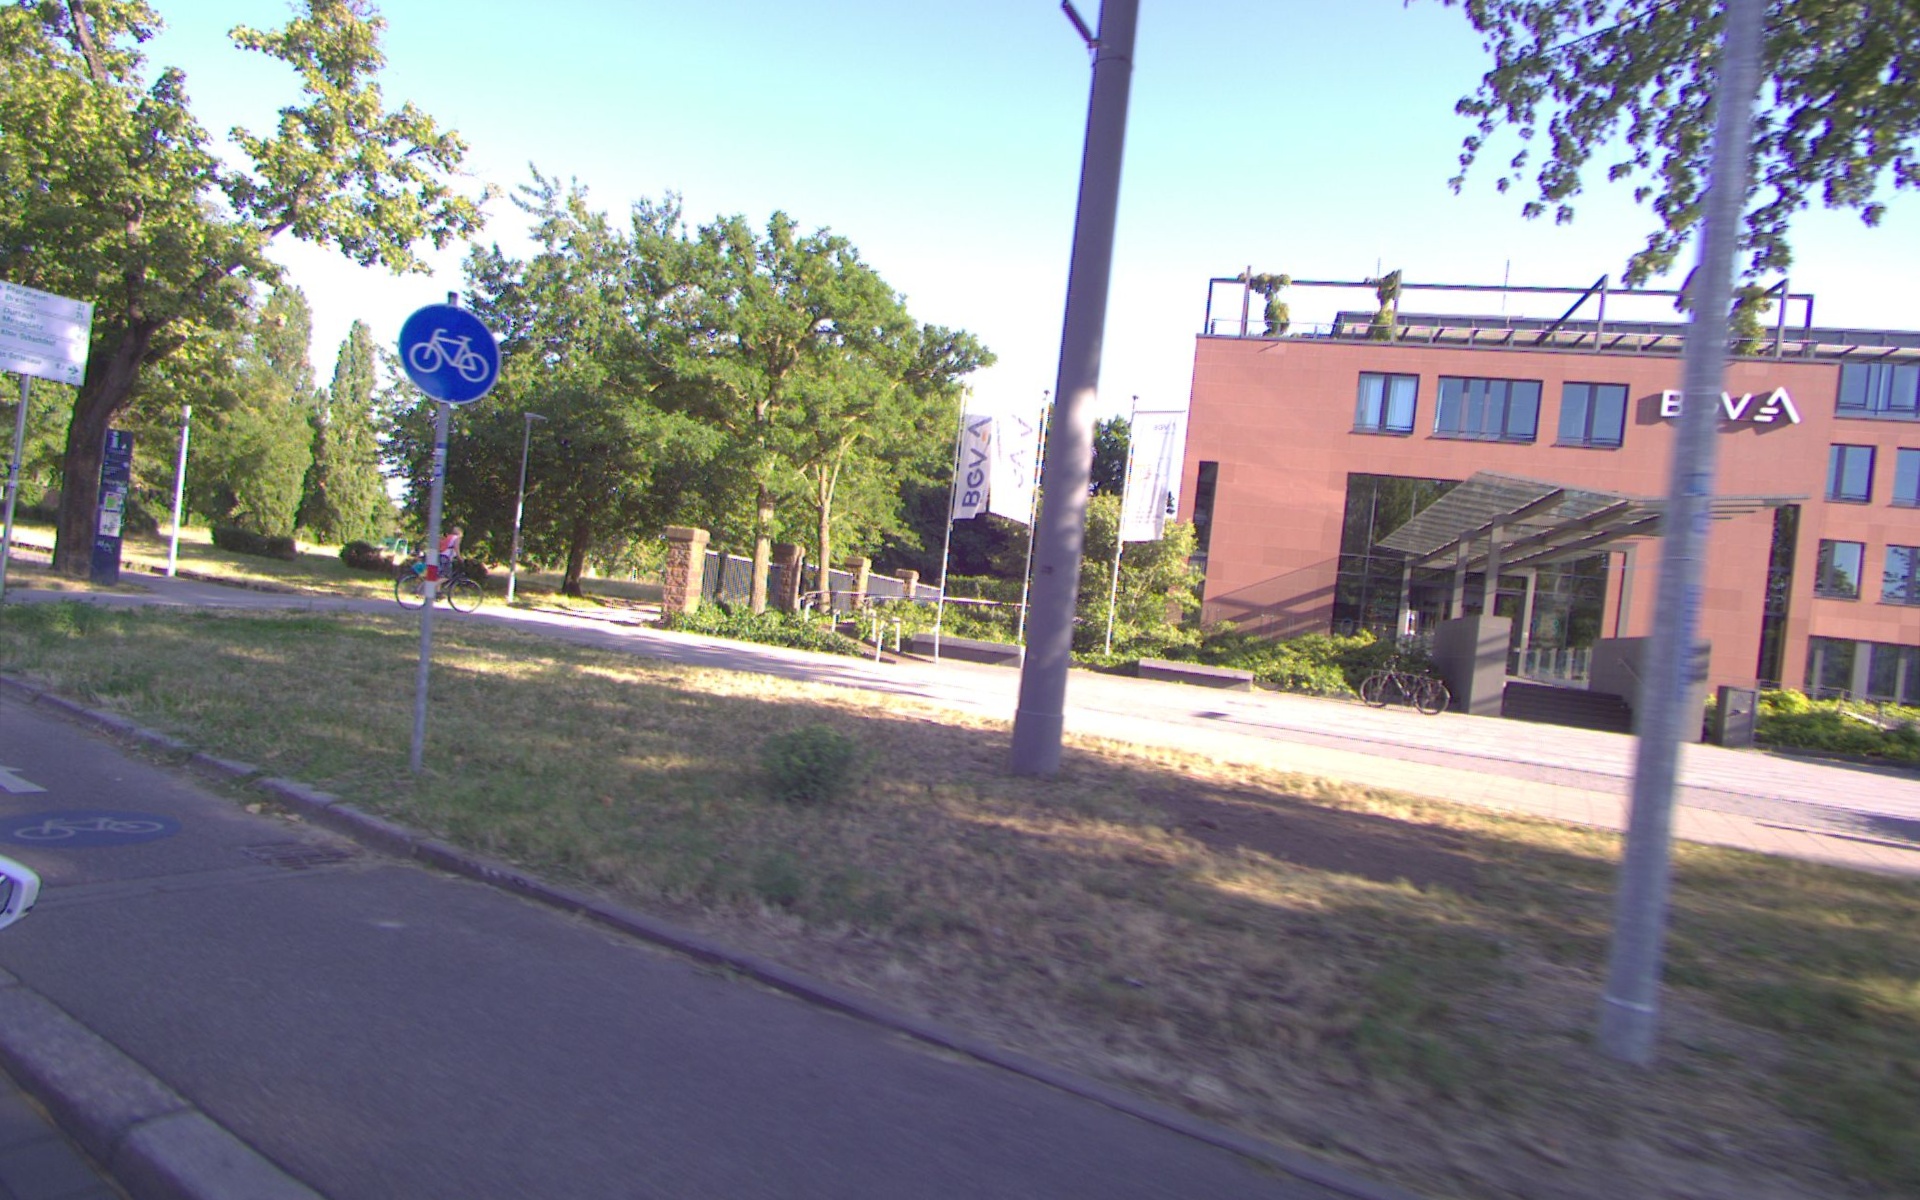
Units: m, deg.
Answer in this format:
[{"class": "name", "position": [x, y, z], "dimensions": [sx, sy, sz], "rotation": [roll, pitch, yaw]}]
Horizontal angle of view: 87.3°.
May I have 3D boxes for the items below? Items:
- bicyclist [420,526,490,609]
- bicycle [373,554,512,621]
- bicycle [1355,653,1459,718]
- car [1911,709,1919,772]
[{"class": "bicyclist", "position": [-10.098, -0.643, 20.134], "dimensions": [0.756, 1.515, 0.902], "rotation": [7, 1, 41]}, {"class": "bicycle", "position": [-10.250, -0.226, 19.999], "dimensions": [0.756, 1.053, 2.257], "rotation": [7, 0, 41]}, {"class": "bicycle", "position": [9.789, 1.853, 22.035], "dimensions": [1.897, 1.171, 0.822], "rotation": [6, 1, 31]}, {"class": "car", "position": [20.795, 2.935, 19.054], "dimensions": [1.962, 1.526, 4.174], "rotation": [7, 1, 11]}]
